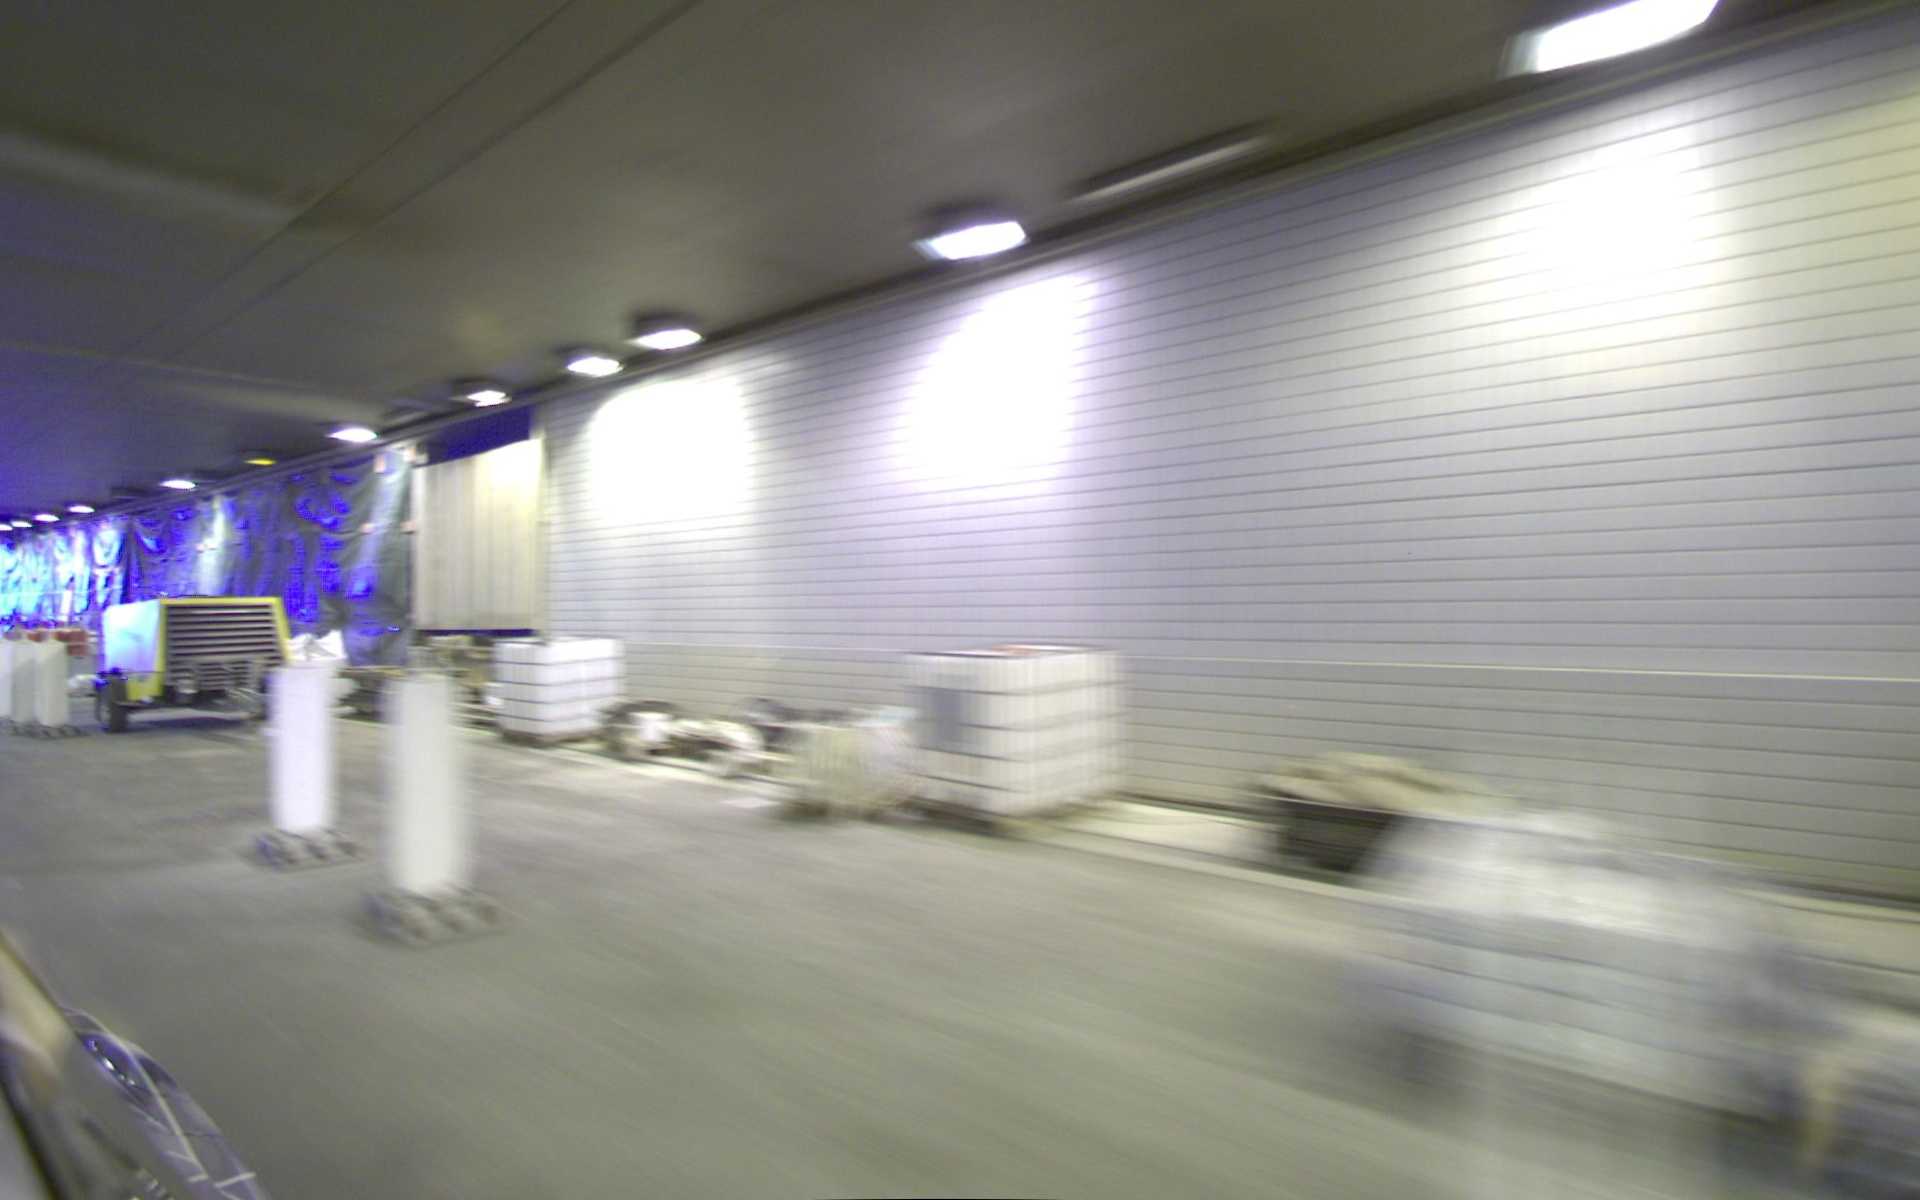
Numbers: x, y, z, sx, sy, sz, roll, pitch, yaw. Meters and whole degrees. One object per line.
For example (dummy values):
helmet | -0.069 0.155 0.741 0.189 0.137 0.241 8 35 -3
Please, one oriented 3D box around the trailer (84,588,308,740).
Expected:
trailer | -10.326 0.776 13.629 3.117 1.804 1.624 -1 0 37
